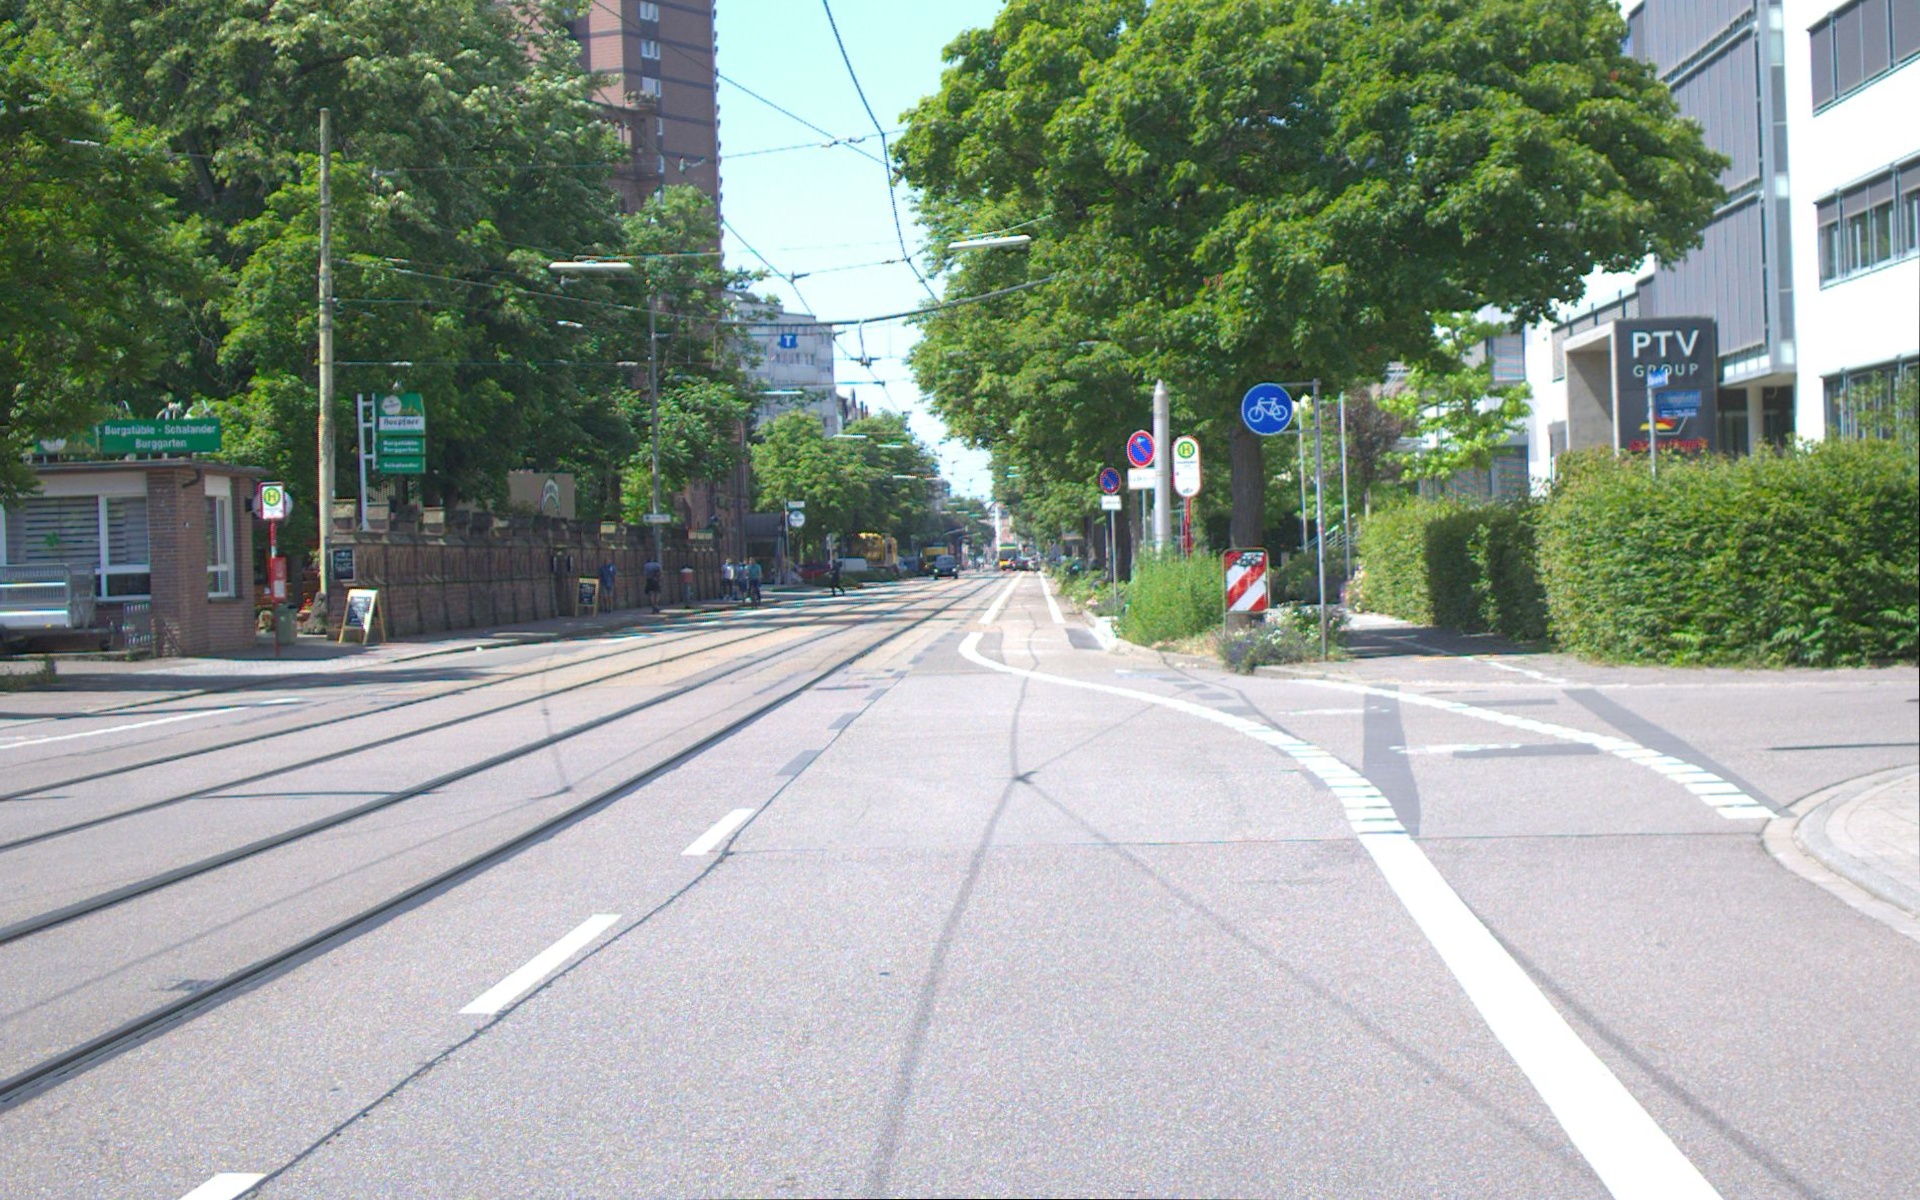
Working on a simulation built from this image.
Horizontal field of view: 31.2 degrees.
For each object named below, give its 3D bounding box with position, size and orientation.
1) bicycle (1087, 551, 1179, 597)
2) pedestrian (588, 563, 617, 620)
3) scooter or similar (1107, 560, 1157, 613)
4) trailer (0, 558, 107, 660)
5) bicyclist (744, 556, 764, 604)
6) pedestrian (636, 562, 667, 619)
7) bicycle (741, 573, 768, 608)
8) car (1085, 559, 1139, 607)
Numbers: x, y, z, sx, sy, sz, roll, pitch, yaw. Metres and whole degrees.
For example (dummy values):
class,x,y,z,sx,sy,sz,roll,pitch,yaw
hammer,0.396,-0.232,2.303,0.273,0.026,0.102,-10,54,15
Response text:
class,x,y,z,sx,sy,sz,roll,pitch,yaw
bicycle,4.840,-0.729,96.064,2.511,1.205,0.648,-2,1,6
pedestrian,-11.024,-0.263,105.975,0.743,1.722,0.867,-1,0,1
scooter or similar,3.877,-0.301,77.588,1.058,1.152,0.370,-3,0,2
trailer,-16.253,0.156,58.836,2.830,1.698,1.621,-1,1,3
bicyclist,-7.273,-0.696,121.467,0.642,1.674,0.815,-2,1,-1
pedestrian,-9.629,-0.295,107.347,0.814,1.764,0.924,-1,0,1
bicycle,-7.256,-0.339,121.327,0.701,1.200,2.240,-4,1,1
car,5.019,-0.574,113.770,1.634,1.496,4.000,-2,1,1
